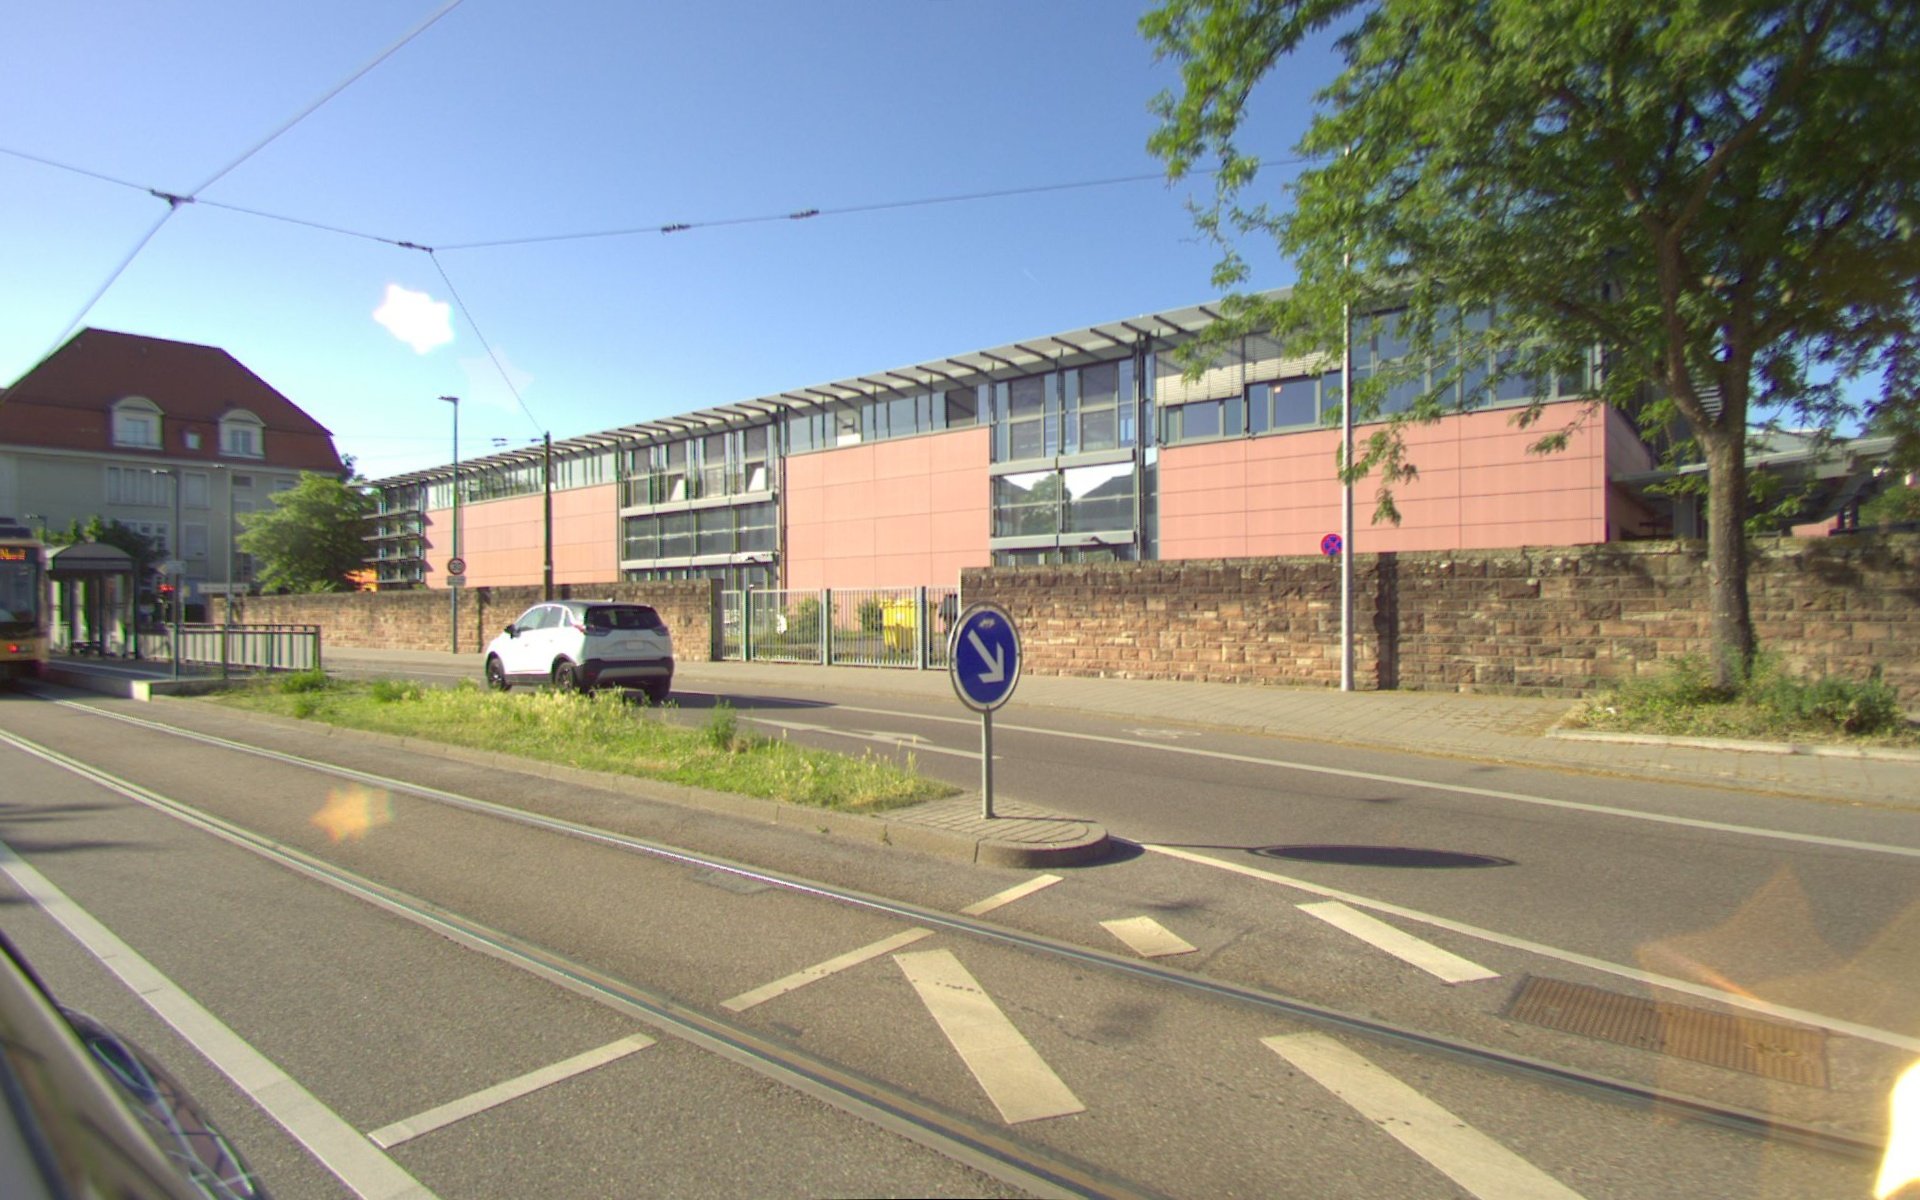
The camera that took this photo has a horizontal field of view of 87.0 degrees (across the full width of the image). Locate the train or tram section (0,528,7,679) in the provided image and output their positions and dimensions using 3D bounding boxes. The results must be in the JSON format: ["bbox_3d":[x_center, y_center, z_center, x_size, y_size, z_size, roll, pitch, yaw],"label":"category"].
[{"bbox_3d":[-25.541,0.146,24.504,6.661,3.486,2.776,-1,0,39],"label":"train or tram section"}]

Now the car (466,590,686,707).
[{"bbox_3d":[-6.398,0.729,16.617,4.211,1.676,1.745,-1,-1,44],"label":"car"}]

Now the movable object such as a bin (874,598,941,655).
[{"bbox_3d":[-1.227,0.610,23.656,1.307,1.295,0.872,-1,-1,38],"label":"movable object such as a bin"}]

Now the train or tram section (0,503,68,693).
[{"bbox_3d":[-20.404,0.022,20.269,6.661,3.486,2.776,-1,0,39],"label":"train or tram section"}]

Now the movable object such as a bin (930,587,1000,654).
[{"bbox_3d":[0.104,0.452,22.628,1.307,1.458,0.872,-1,-1,38],"label":"movable object such as a bin"}]
